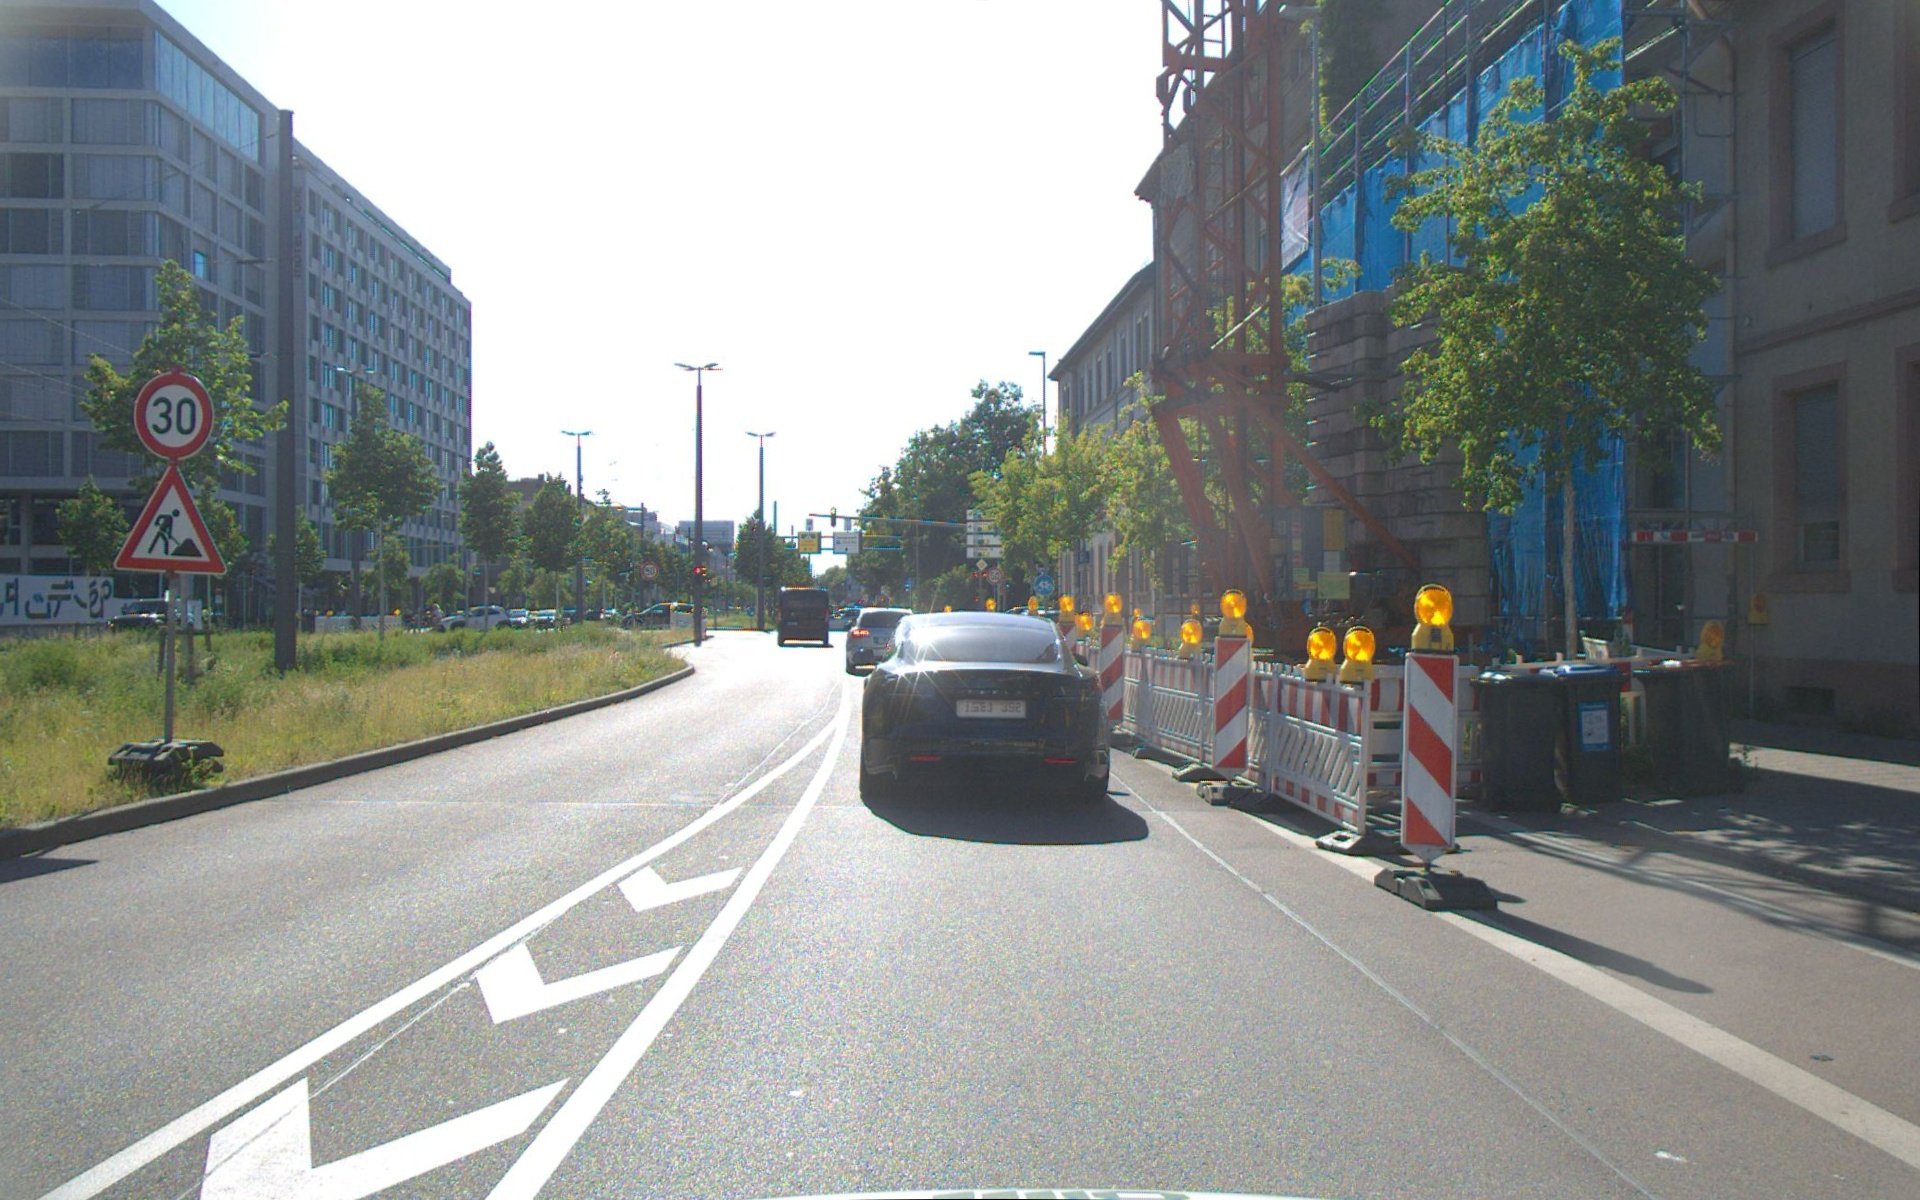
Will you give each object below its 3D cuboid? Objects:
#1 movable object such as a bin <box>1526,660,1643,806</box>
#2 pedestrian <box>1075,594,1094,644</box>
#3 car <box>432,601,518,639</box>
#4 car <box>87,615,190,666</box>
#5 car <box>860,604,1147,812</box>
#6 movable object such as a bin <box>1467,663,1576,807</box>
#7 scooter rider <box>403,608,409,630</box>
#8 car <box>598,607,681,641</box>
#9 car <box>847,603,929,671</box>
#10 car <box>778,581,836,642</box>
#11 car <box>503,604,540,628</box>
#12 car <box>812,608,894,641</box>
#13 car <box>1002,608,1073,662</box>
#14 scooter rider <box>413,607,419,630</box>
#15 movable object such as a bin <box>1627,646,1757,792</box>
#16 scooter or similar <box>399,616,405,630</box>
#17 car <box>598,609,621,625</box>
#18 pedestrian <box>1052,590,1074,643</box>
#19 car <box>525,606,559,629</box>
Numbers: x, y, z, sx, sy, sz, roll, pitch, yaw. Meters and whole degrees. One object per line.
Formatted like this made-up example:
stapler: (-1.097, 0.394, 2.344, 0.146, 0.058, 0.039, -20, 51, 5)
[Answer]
movable object such as a bin: (5.032, 1.057, 13.362, 0.583, 1.076, 0.730, -3, 0, -3)
pedestrian: (4.721, 0.714, 62.603, 0.552, 1.852, 0.587, -3, 0, -5)
car: (-25.200, 1.028, 85.906, 3.936, 1.952, 1.893, 0, -1, -33)
car: (-33.032, 1.608, 66.635, 1.869, 1.952, 4.329, 0, 0, 1)
car: (0.188, 0.793, 14.242, 2.011, 1.469, 4.520, 1, 0, -4)
movable object such as a bin: (4.446, 1.056, 13.121, 0.576, 1.076, 0.730, 1, 0, -3)
scooter rider: (-36.817, 1.257, 109.972, 0.335, 1.478, 0.239, 0, -1, -4)
car: (-17.614, 1.307, 90.805, 4.435, 1.824, 1.993, 0, 0, -14)
car: (-1.702, 0.802, 37.904, 1.713, 1.452, 4.834, 1, 0, -4)
car: (-6.097, 0.445, 65.968, 2.175, 2.307, 4.479, 1, 0, -5)
car: (-30.855, 1.106, 116.494, 1.755, 1.680, 3.997, 0, 0, -3)
car: (-5.975, 1.346, 92.719, 4.419, 1.824, 2.000, 0, 0, 0)
car: (2.334, 1.040, 50.868, 1.615, 1.501, 4.697, -3, 0, -3)
scooter rider: (-36.090, 1.226, 109.775, 0.335, 1.478, 0.239, 0, -1, -4)
movable object such as a bin: (5.890, 0.940, 13.338, 0.577, 1.076, 0.782, -4, 0, -8)
scooter or similar: (-37.066, 1.524, 109.867, 0.280, 0.964, 0.765, 0, -1, -11)
car: (-37.349, 1.763, 176.360, 1.755, 1.680, 3.997, 0, 0, -3)
pedestrian: (3.895, 0.632, 62.564, 0.645, 1.946, 0.587, -3, 0, -5)
car: (-31.346, 1.335, 124.148, 1.755, 1.680, 3.997, 0, 0, -3)
